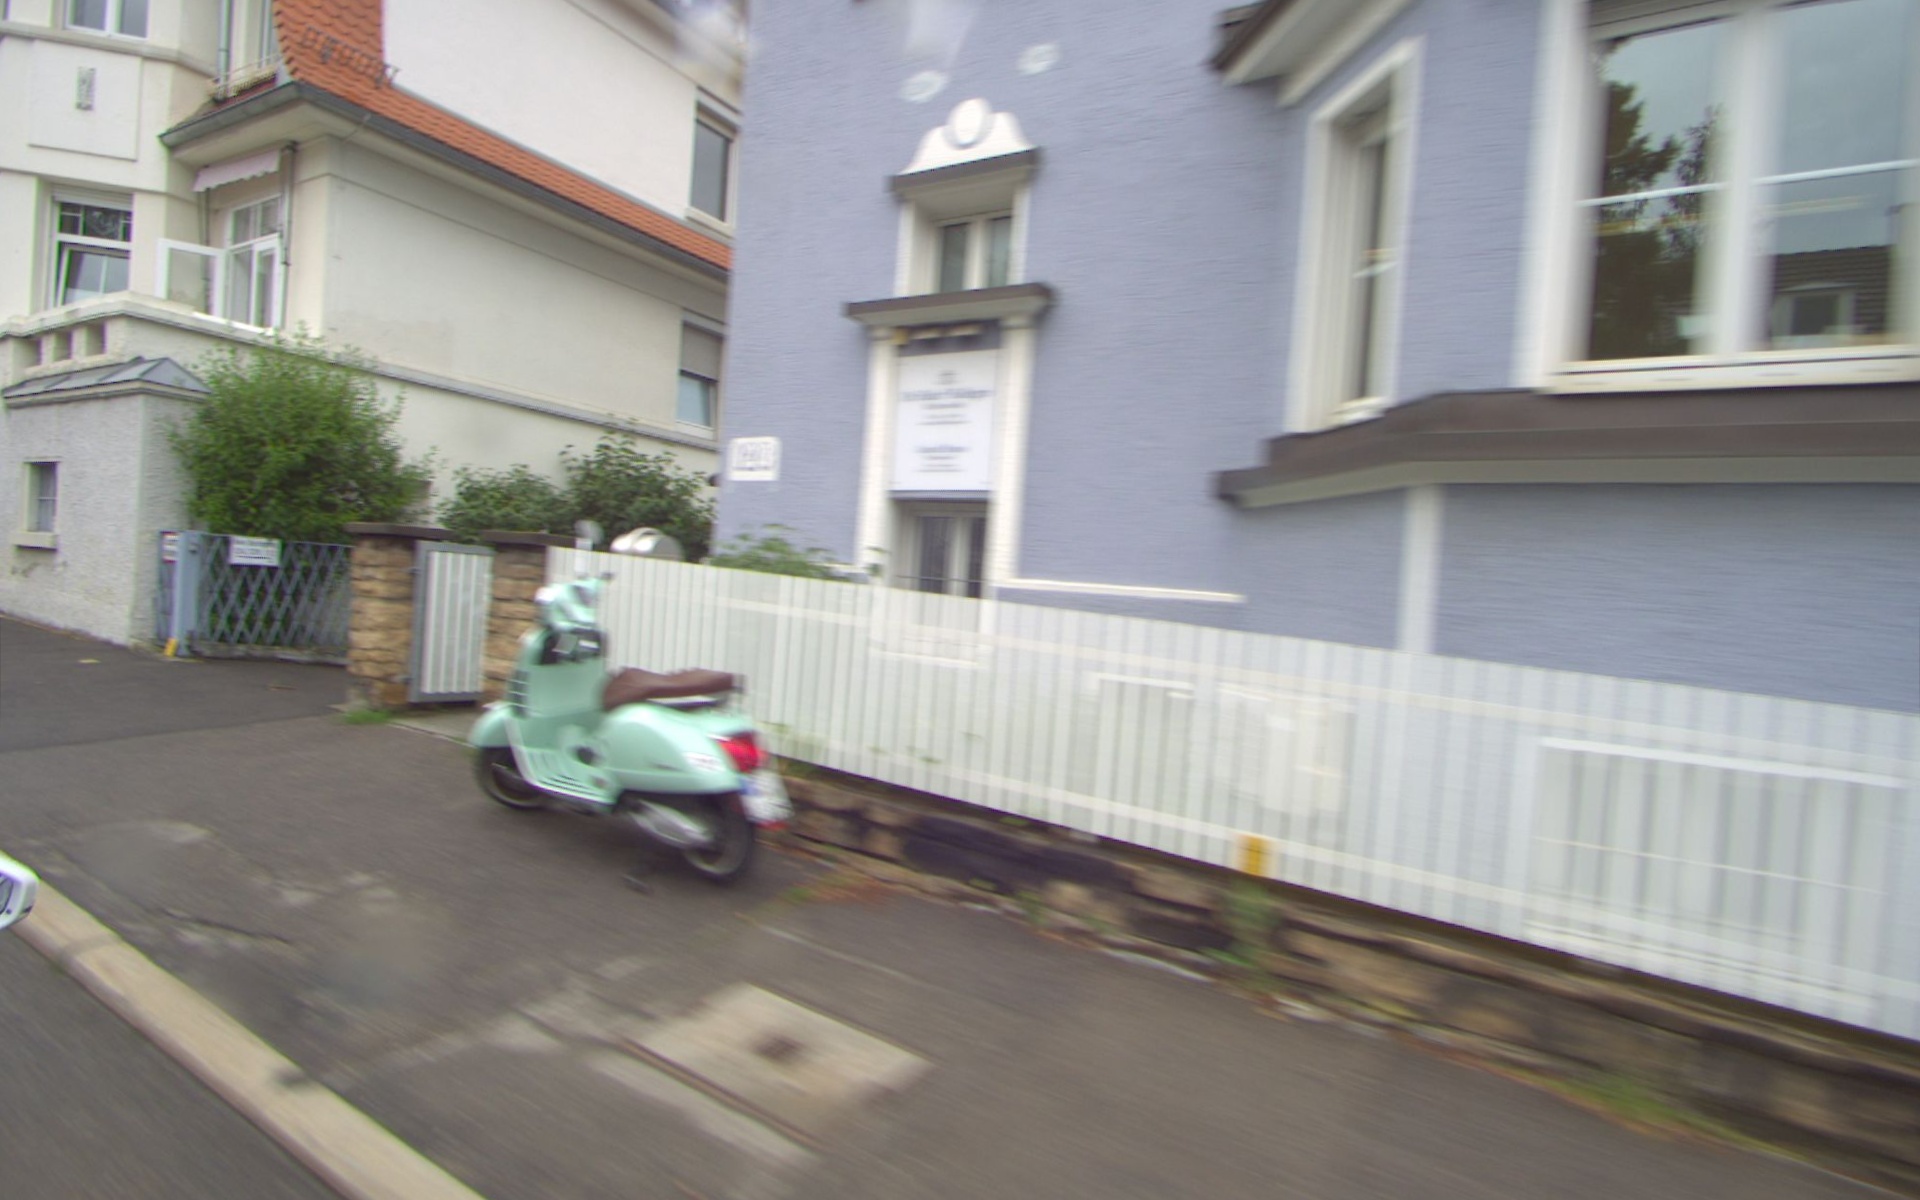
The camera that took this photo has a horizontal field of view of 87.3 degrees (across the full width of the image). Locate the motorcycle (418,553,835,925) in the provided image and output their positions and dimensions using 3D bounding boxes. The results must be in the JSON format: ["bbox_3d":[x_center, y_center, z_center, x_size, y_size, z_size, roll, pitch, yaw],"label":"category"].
[{"bbox_3d":[-1.591,0.479,4.580,2.120,1.245,0.691,7,8,36],"label":"motorcycle"}]
